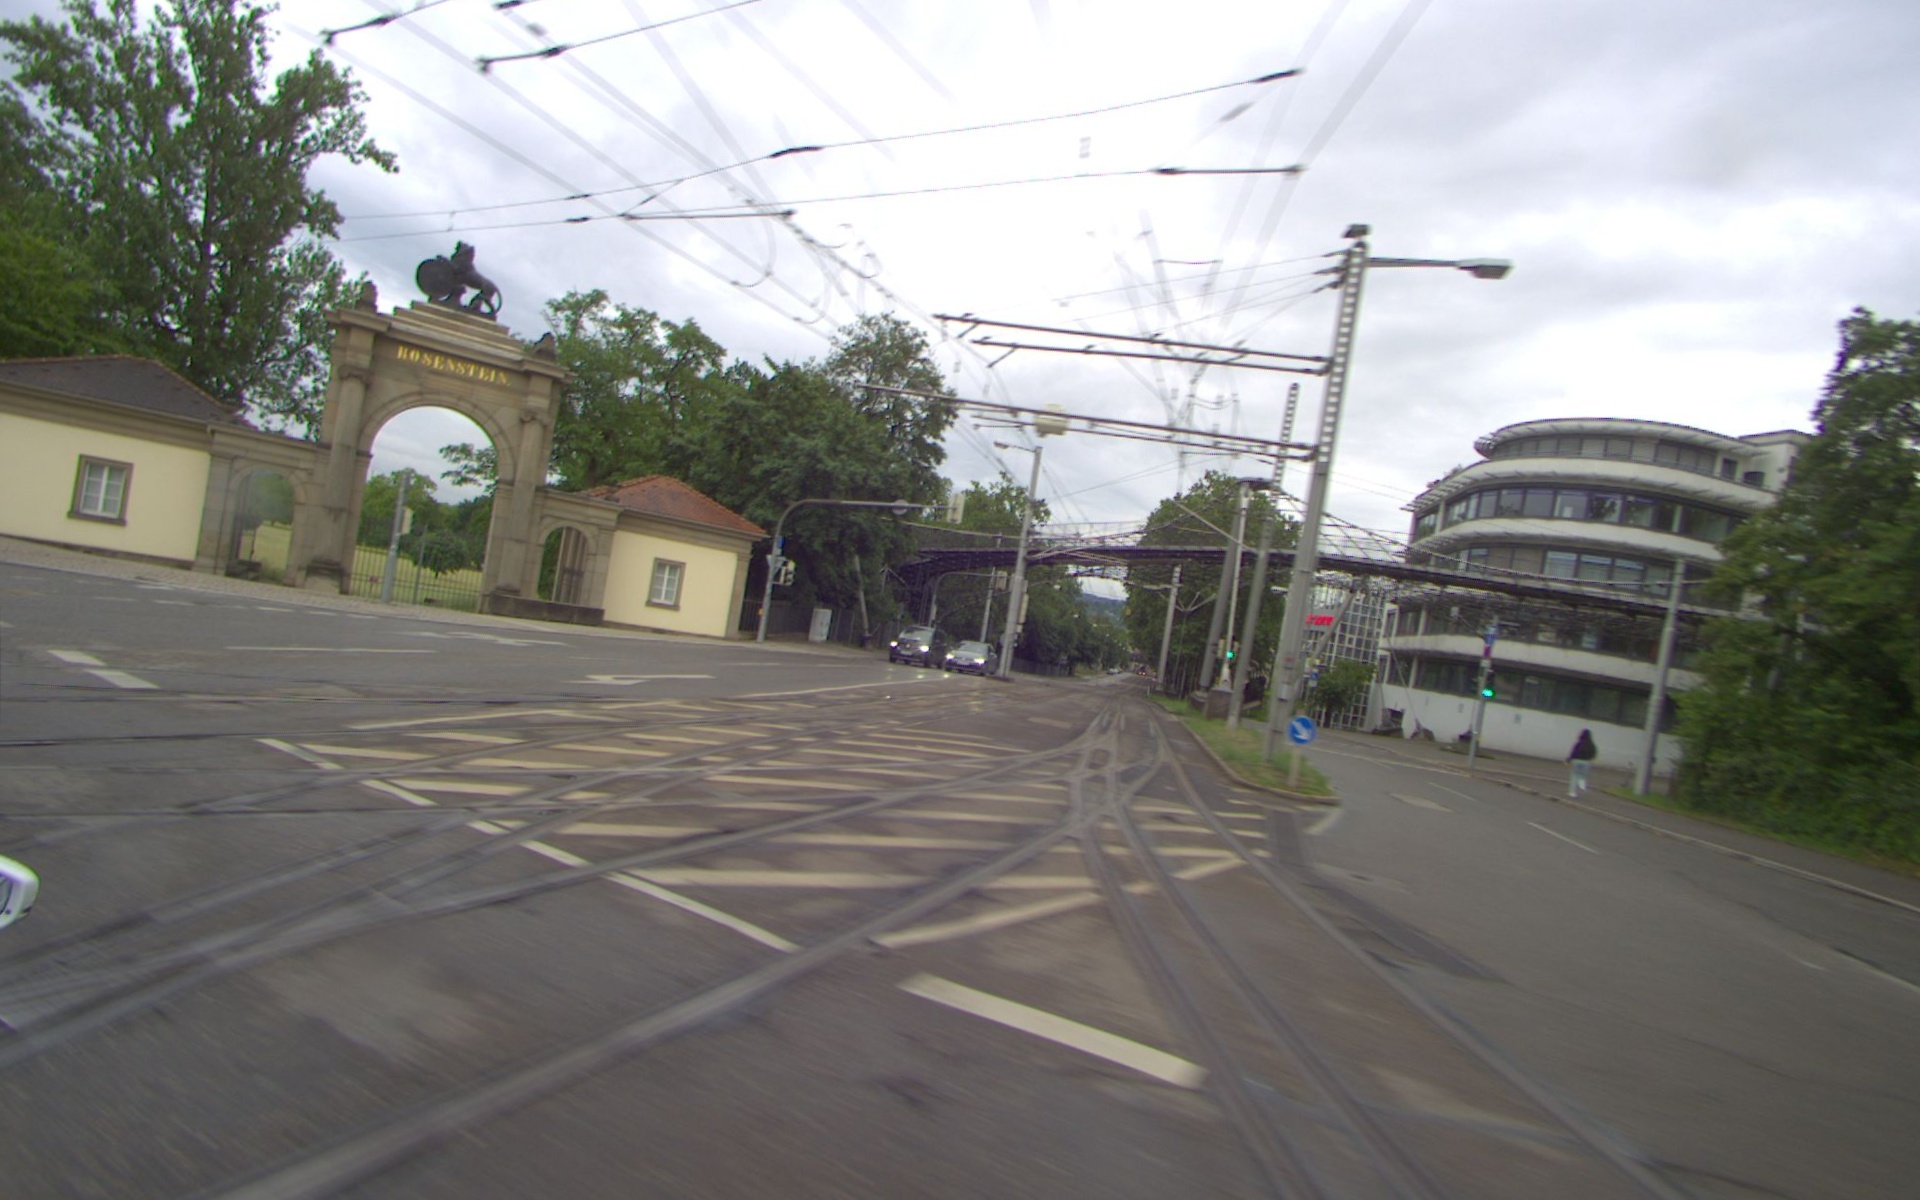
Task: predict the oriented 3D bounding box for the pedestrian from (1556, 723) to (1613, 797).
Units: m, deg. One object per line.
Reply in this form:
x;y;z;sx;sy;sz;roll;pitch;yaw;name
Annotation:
14.696;3.755;23.694;0.795;1.572;0.655;9;-1;18;pedestrian

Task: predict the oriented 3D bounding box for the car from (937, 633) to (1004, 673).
0.507;2.343;43.704;1.962;1.471;4.269;4;-3;13;car

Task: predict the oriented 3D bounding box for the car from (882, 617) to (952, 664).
-1.829;1.854;44.791;1.962;1.754;4.269;4;-3;13;car
